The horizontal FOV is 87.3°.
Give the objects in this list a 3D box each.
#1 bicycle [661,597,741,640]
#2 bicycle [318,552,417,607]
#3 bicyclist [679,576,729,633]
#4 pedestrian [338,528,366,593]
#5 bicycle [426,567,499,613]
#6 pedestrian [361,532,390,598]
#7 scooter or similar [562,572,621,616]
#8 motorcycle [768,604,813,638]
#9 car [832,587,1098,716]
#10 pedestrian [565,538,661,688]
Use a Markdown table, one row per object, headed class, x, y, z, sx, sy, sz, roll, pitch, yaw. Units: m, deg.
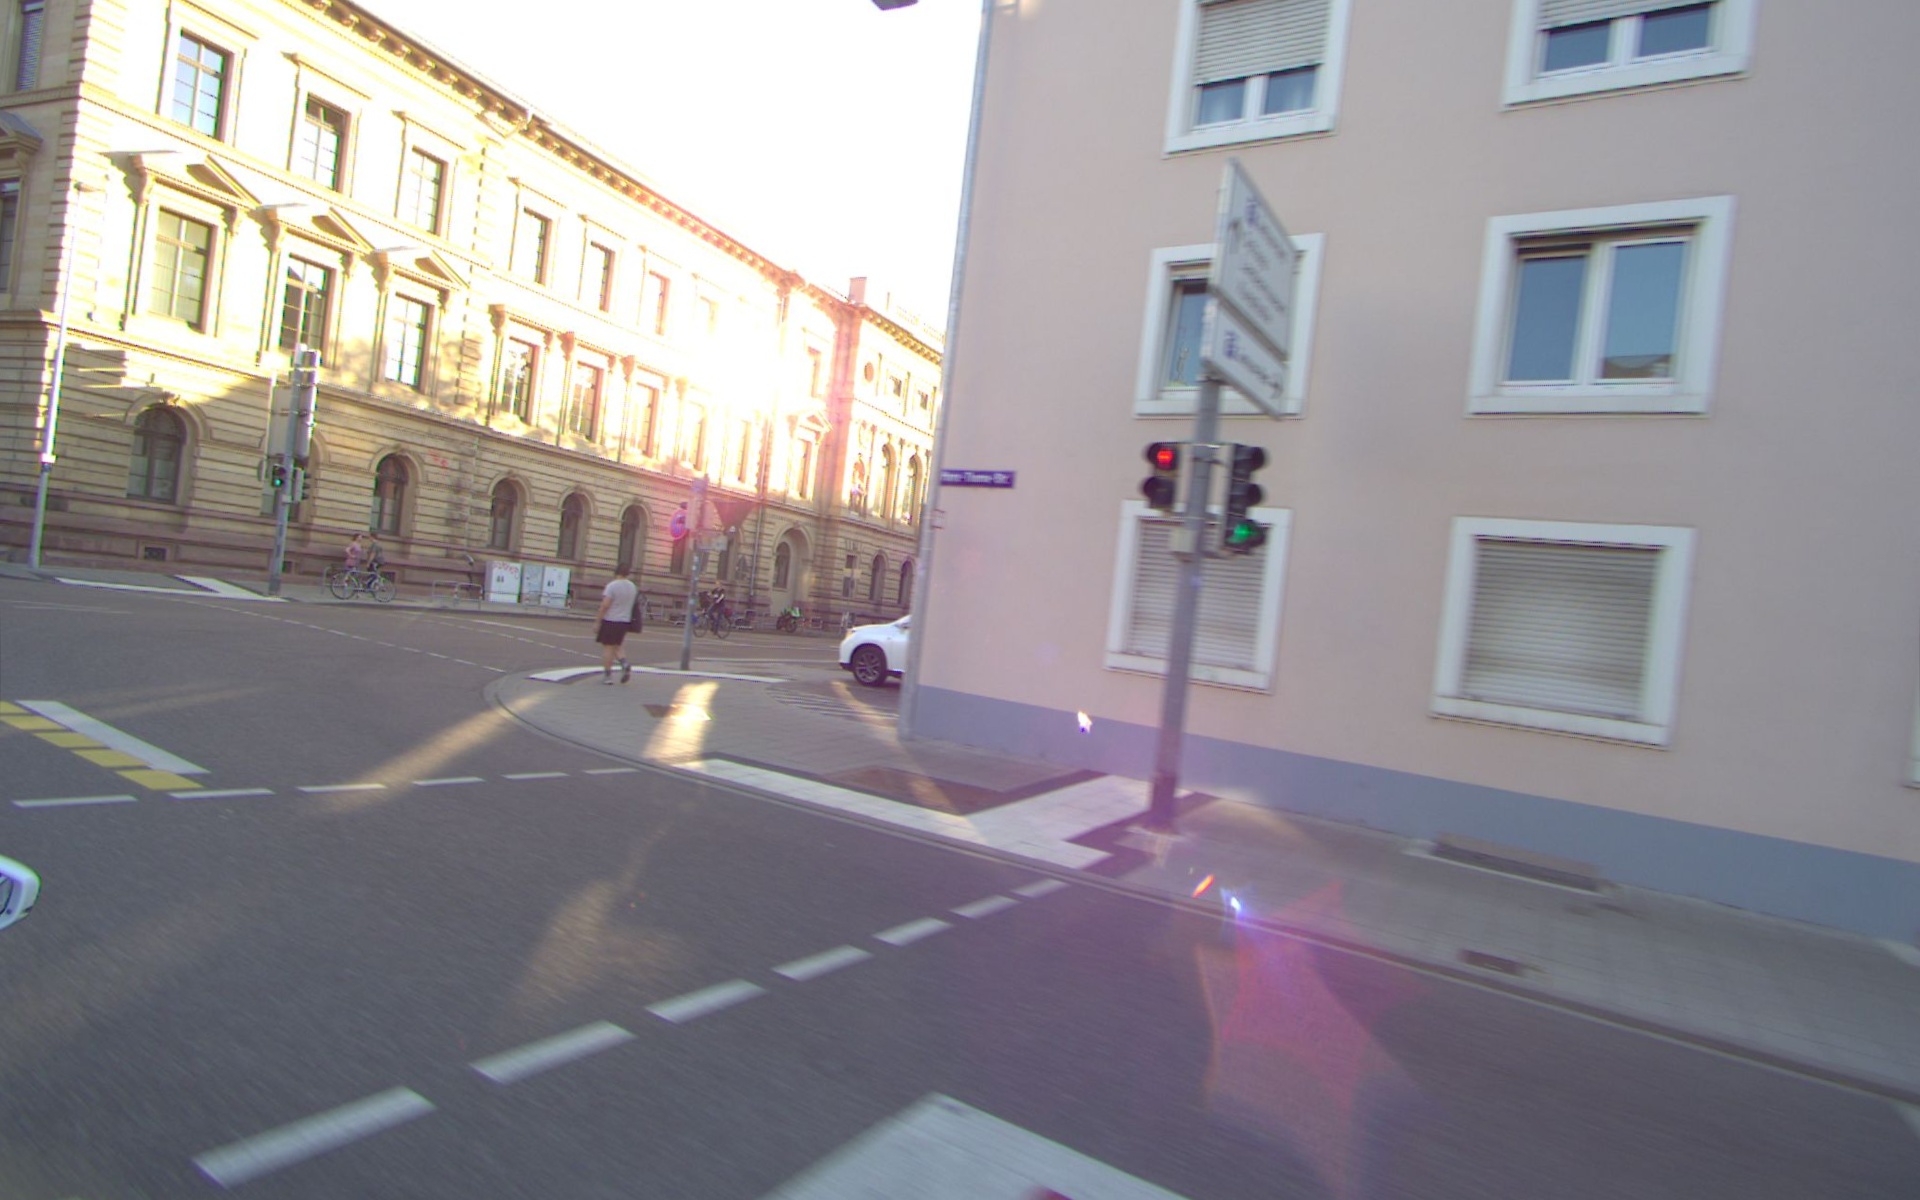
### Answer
| class | x | y | z | sx | sy | sz | roll | pitch | yaw |
| --- | --- | --- | --- | --- | --- | --- | --- | --- | --- |
| bicycle | -8.201 | 0.610 | 32.018 | 0.959 | 1.118 | 2.583 | 7 | -1 | 25 |
| bicycle | -16.097 | -0.536 | 27.391 | 0.847 | 1.222 | 2.054 | 9 | 1 | 29 |
| bicyclist | -8.135 | 0.137 | 32.008 | 0.952 | 1.652 | 1.045 | 7 | 0 | 26 |
| pedestrian | -17.980 | -1.157 | 29.755 | 0.420 | 1.880 | 0.449 | 6 | 0 | -10 |
| bicycle | -14.726 | -0.280 | 29.803 | 0.684 | 1.158 | 1.726 | 10 | 1 | 29 |
| pedestrian | -17.439 | -1.050 | 30.005 | 0.530 | 1.880 | 0.616 | 6 | 0 | -33 |
| scooter or similar | -13.353 | -0.211 | 36.447 | 1.879 | 1.343 | 0.922 | 6 | 0 | 32 |
| motorcycle | -7.413 | 0.899 | 43.918 | 0.877 | 1.218 | 2.289 | 7 | 0 | -38 |
| car | 0.070 | 0.916 | 18.794 | 4.398 | 1.771 | 1.998 | 6 | -1 | 28 |
| pedestrian | -5.035 | 0.178 | 14.576 | 0.782 | 2.038 | 0.982 | 7 | 0 | -43 |
